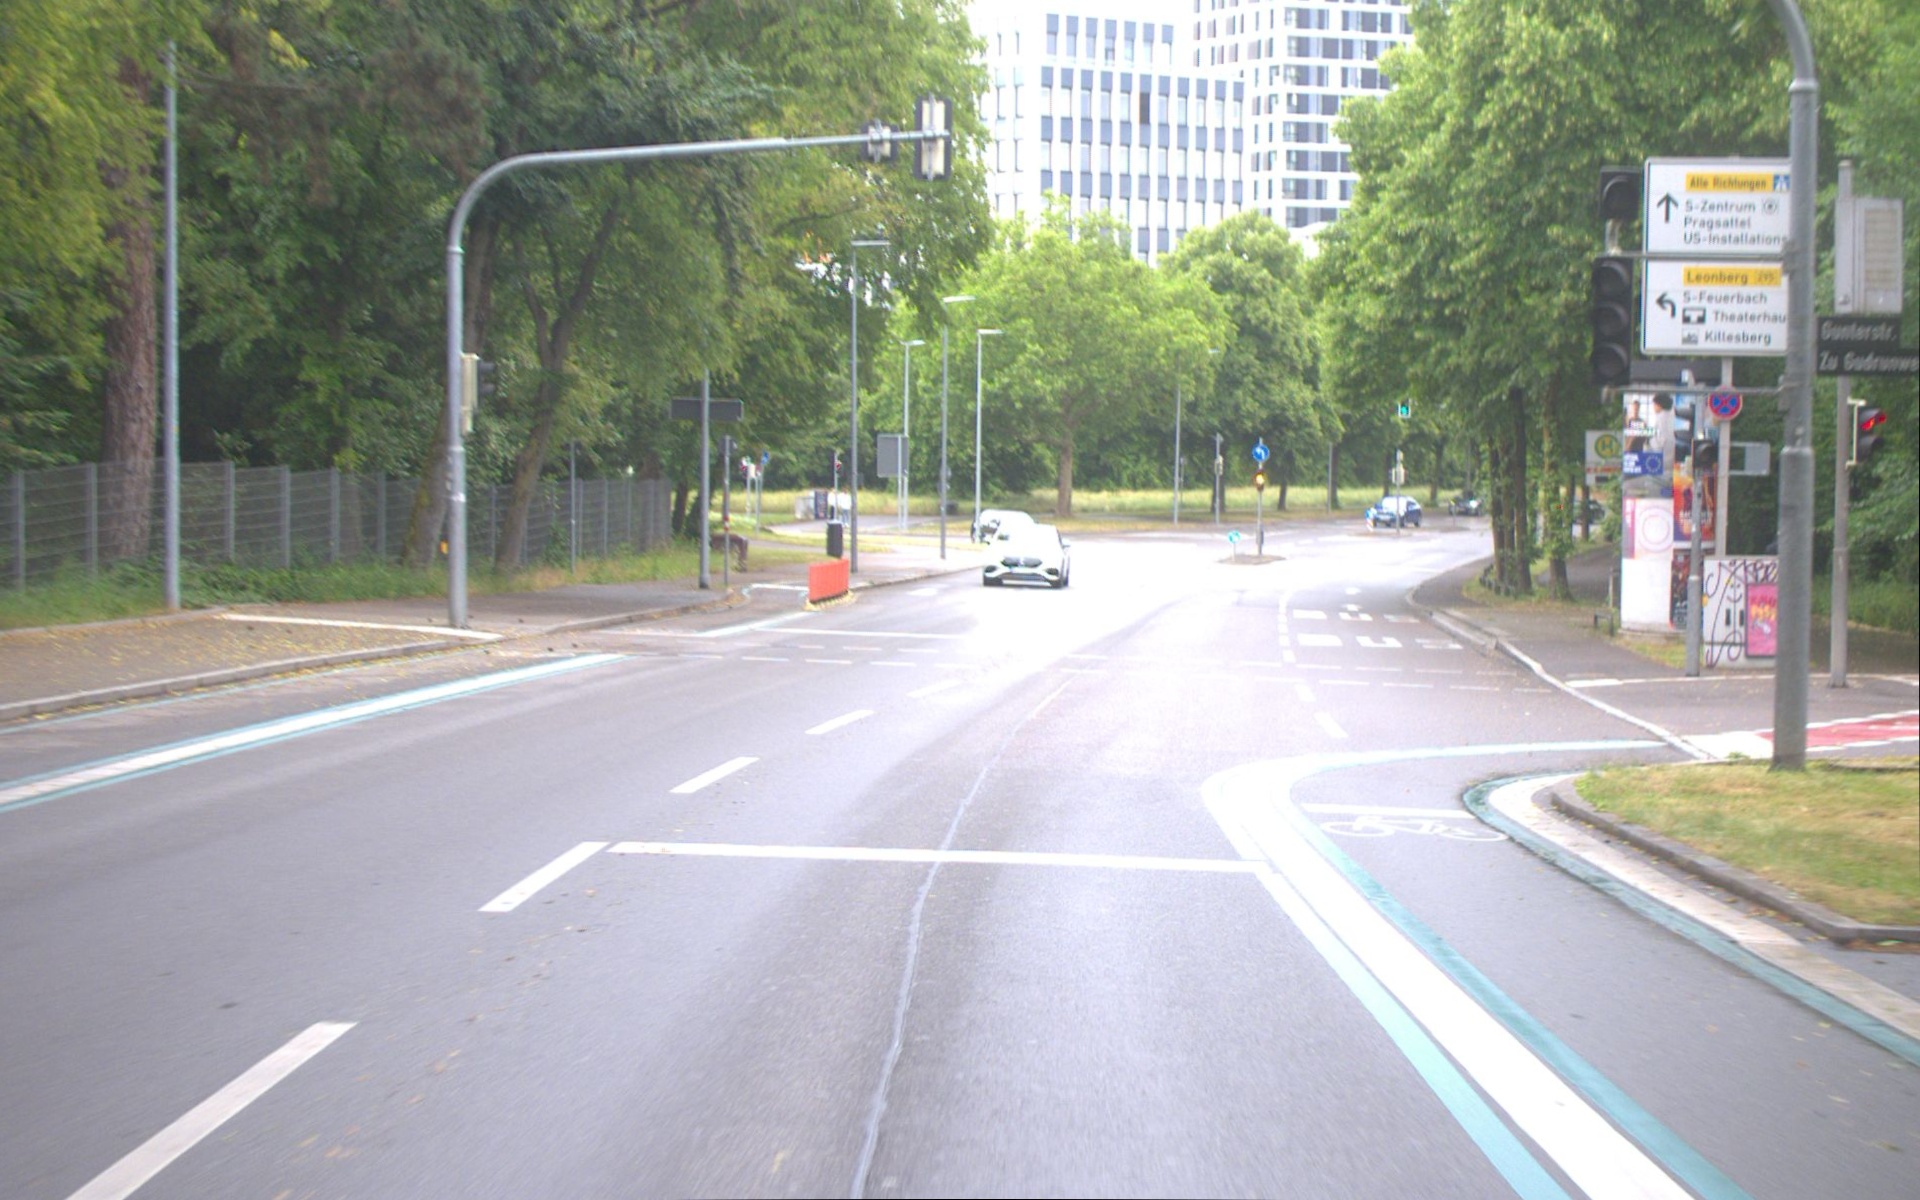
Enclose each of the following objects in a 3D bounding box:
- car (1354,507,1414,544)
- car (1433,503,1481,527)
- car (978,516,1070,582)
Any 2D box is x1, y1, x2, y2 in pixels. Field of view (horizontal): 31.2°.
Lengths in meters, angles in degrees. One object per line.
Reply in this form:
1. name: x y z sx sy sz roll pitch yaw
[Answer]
1. car: 20.981 -3.676 170.073 1.996 1.679 3.996 2 1 21
2. car: 28.139 -4.801 194.565 1.811 1.282 3.736 3 1 23
3. car: 1.570 -1.248 82.916 1.844 1.452 4.499 2 2 5
